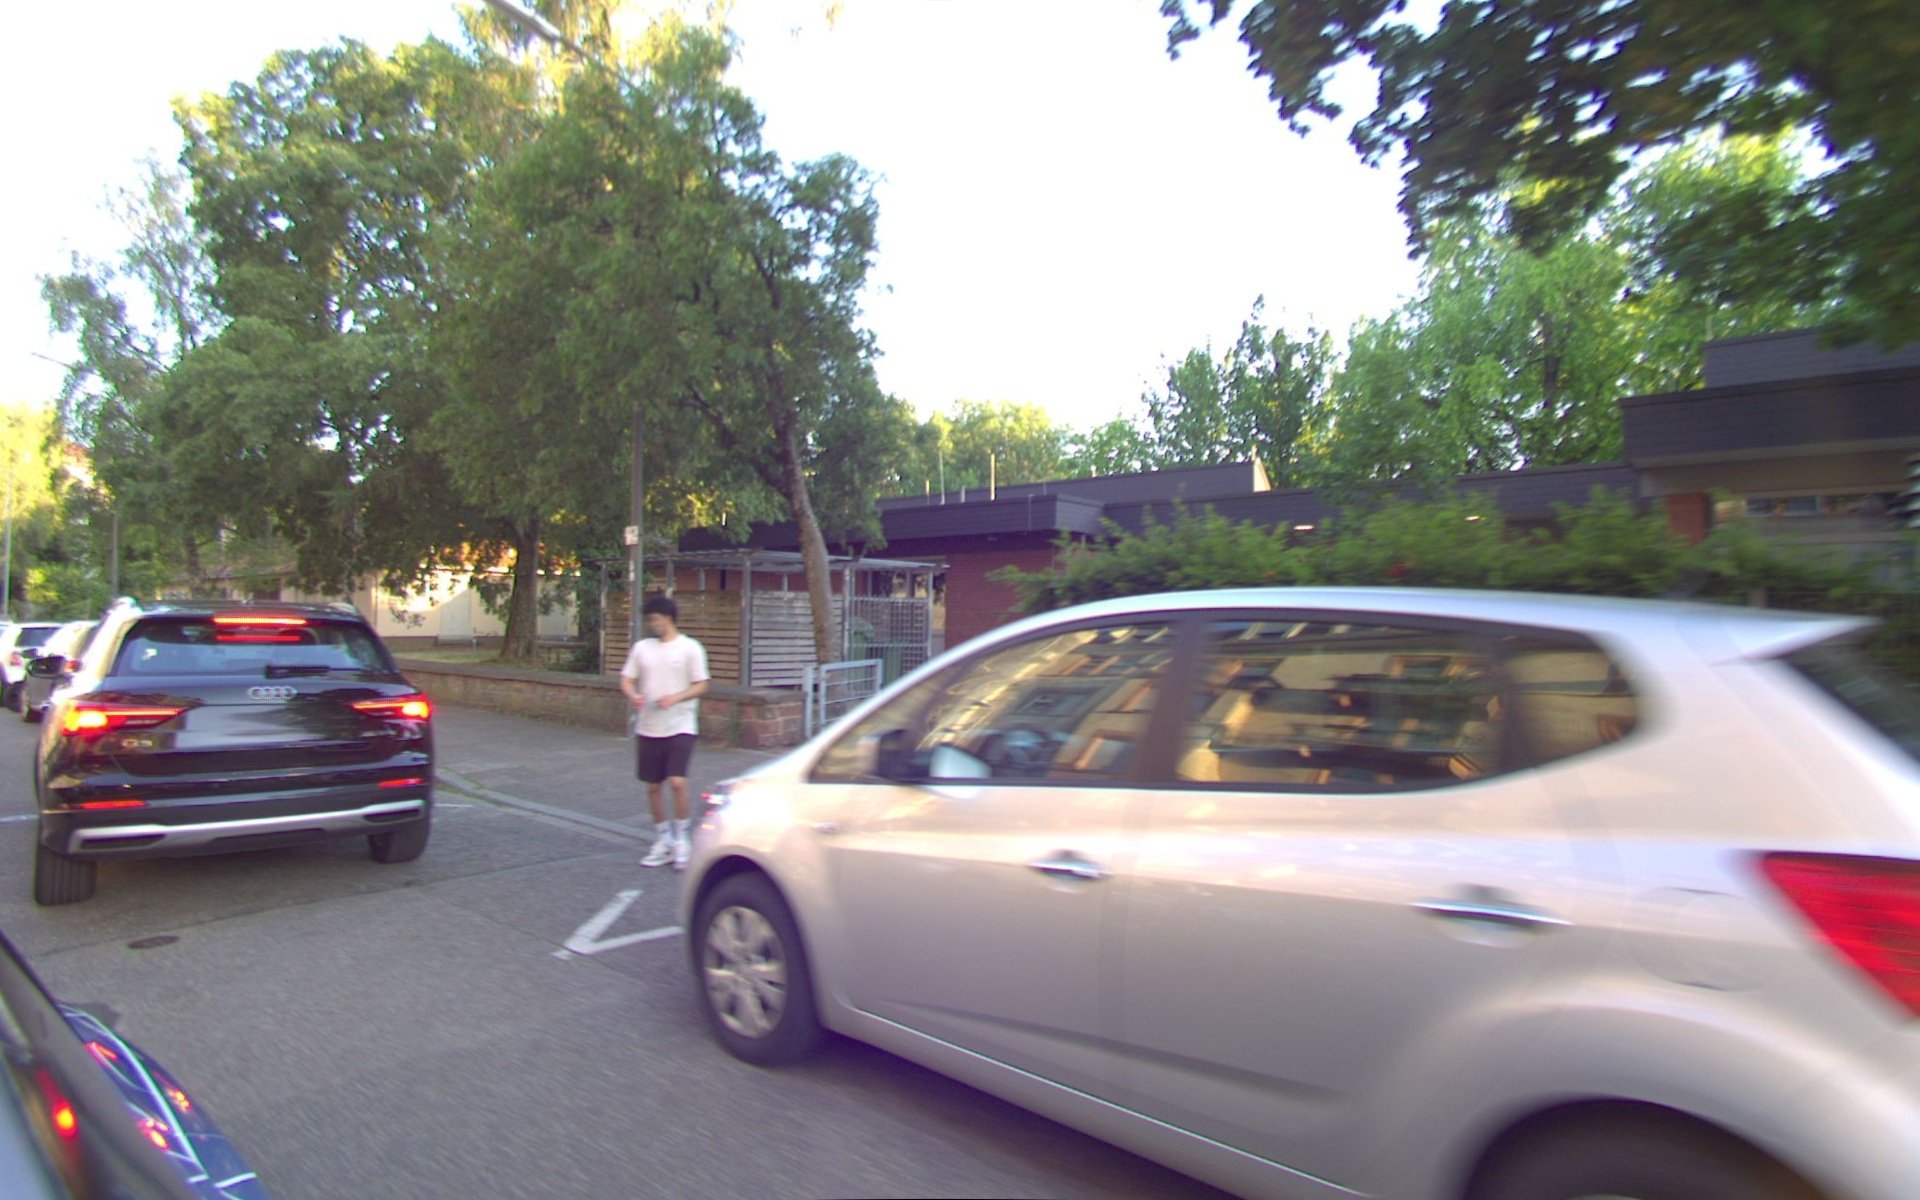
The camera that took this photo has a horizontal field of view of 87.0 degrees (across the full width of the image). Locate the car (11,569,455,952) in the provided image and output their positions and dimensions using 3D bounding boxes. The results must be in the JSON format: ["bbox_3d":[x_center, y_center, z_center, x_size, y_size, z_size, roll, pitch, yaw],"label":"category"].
[{"bbox_3d":[-4.814,0.759,6.474,1.712,1.644,4.130,3,-3,-42],"label":"car"}]

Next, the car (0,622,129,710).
[{"bbox_3d":[-16.601,1.132,18.306,3.802,1.436,1.716,-1,-3,40],"label":"car"}]

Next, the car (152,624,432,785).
[{"bbox_3d":[-7.210,0.996,10.822,3.414,1.436,1.603,-1,-3,41],"label":"car"}]

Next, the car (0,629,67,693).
[{"bbox_3d":[-20.851,1.278,21.890,3.802,1.297,1.716,-1,-3,40],"label":"car"}]

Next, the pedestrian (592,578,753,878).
[{"bbox_3d":[-1.768,0.728,6.262,0.557,1.715,0.739,-1,1,37],"label":"pedestrian"}]

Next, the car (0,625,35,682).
[{"bbox_3d":[-24.729,1.294,25.397,3.802,1.377,1.716,-1,-3,40],"label":"car"}]

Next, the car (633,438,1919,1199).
[{"bbox_3d":[0.902,0.648,2.941,3.979,1.644,1.715,-1,-3,42],"label":"car"}]

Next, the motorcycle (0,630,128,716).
[{"bbox_3d":[-14.397,1.135,16.207,0.785,1.268,1.575,-1,-1,43],"label":"motorcycle"}]

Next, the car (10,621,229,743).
[{"bbox_3d":[-11.737,1.047,14.058,3.803,1.457,1.715,-1,-3,41],"label":"car"}]
